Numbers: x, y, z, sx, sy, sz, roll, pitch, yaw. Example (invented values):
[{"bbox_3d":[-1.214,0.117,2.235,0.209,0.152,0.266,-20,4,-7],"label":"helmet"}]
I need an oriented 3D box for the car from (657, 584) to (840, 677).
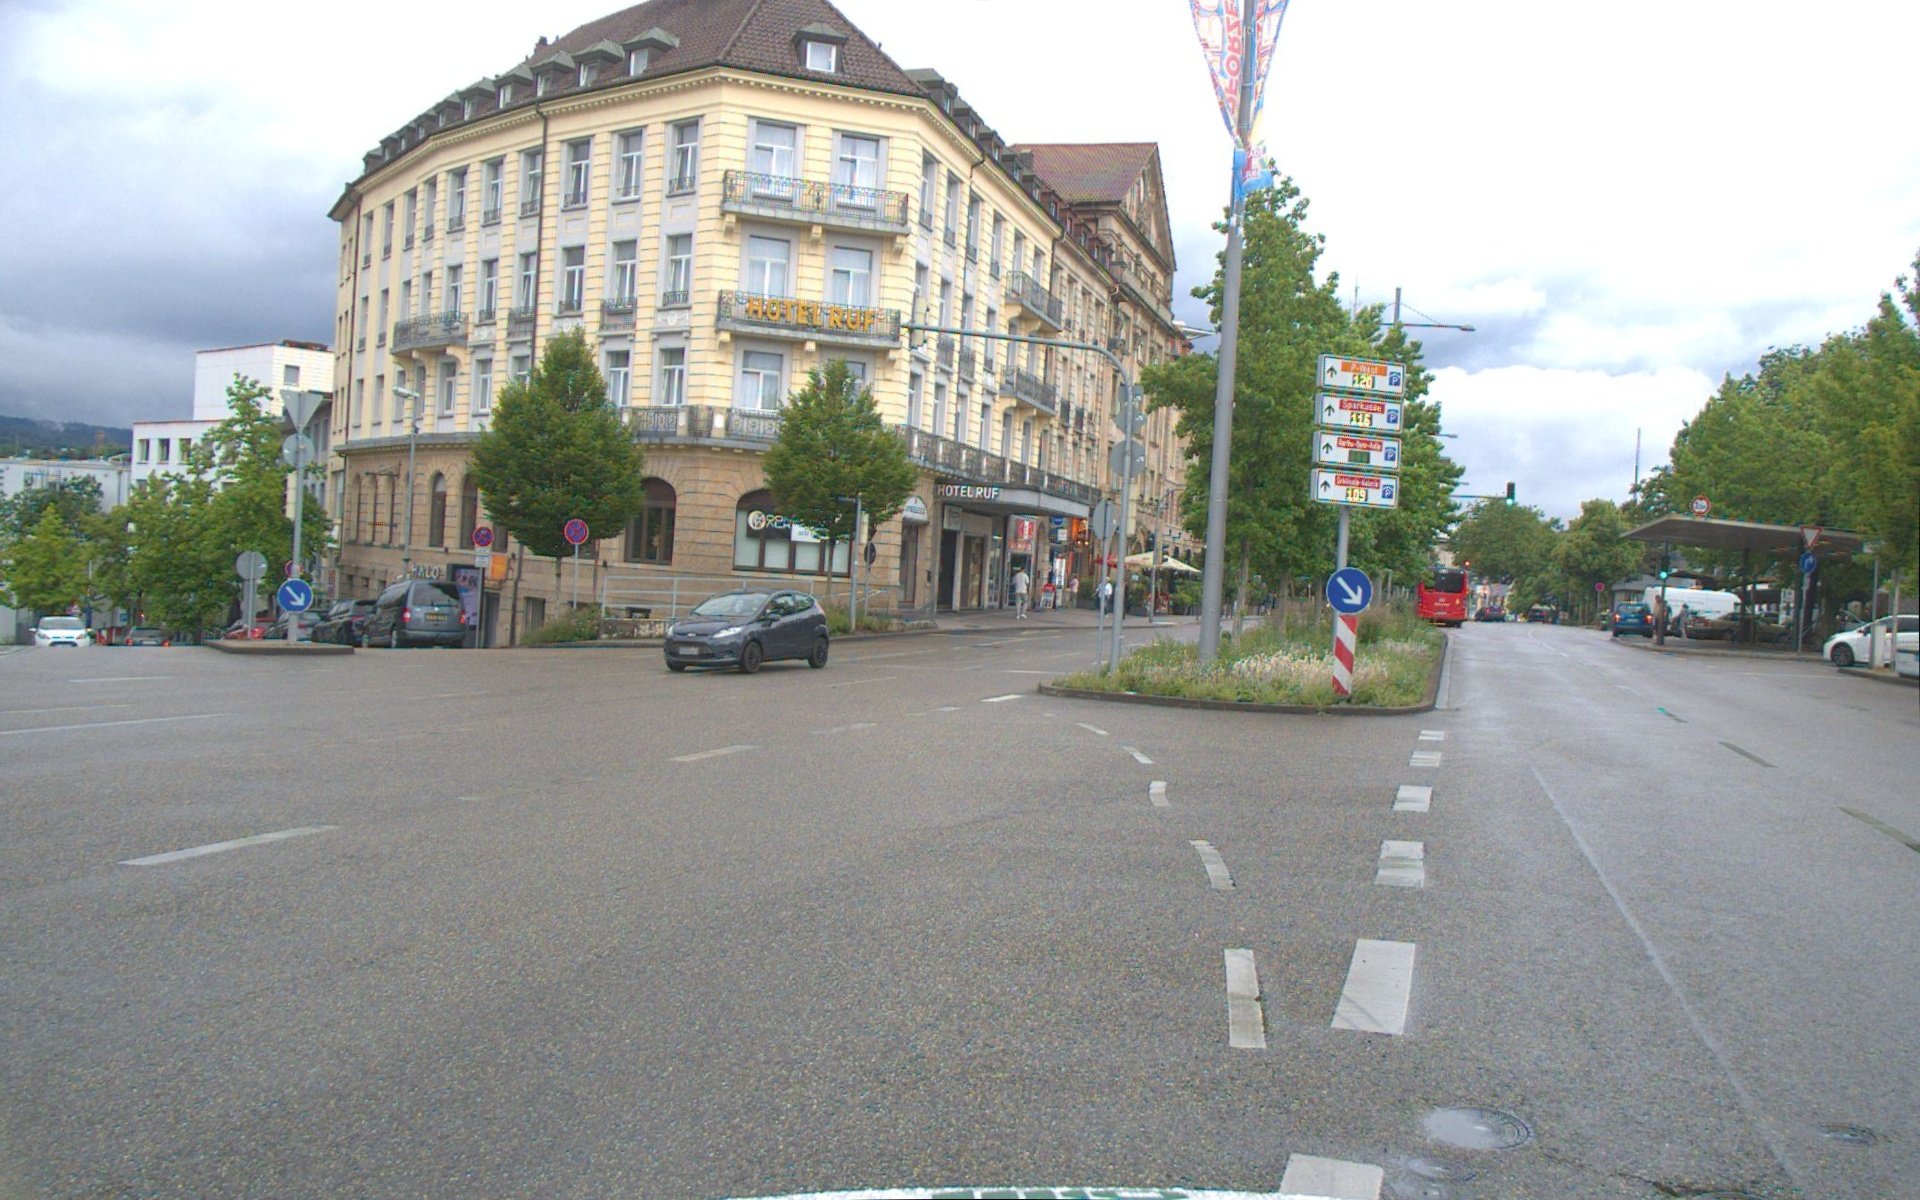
[{"bbox_3d":[-3.720,0.521,29.721,1.642,1.539,3.864,1,0,20],"label":"car"}]

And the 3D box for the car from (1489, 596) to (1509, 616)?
[{"bbox_3d":[57.565,0.680,176.751,1.952,2.049,4.002,1,0,17],"label":"car"}]

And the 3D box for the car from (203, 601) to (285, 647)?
[{"bbox_3d":[-25.090,0.826,57.896,1.751,1.504,3.958,1,0,-37],"label":"car"}]

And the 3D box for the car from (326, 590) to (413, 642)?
[{"bbox_3d":[-17.618,0.458,49.268,1.614,1.422,3.957,1,1,-32],"label":"car"}]

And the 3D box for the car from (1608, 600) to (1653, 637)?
[{"bbox_3d":[31.115,0.862,76.864,1.820,1.596,4.000,2,0,21],"label":"car"}]

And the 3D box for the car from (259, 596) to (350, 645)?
[{"bbox_3d":[-21.126,0.643,53.231,1.751,1.504,3.948,1,0,-37],"label":"car"}]

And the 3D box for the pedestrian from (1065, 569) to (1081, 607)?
[{"bbox_3d":[5.046,-0.533,73.880,0.652,1.693,0.537,1,0,9],"label":"pedestrian"}]

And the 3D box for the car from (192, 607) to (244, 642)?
[{"bbox_3d":[-34.151,1.114,76.055,1.746,1.504,3.958,1,0,-31],"label":"car"}]

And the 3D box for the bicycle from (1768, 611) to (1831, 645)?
[{"bbox_3d":[27.620,0.904,54.453,1.789,1.074,0.420,1,0,17],"label":"bicycle"}]

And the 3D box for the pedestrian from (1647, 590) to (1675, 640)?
[{"bbox_3d":[25.294,0.527,59.689,0.730,1.777,0.837,2,-1,9],"label":"pedestrian"}]

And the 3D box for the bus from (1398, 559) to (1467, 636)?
[{"bbox_3d":[26.533,-0.109,93.099,3.470,4.049,11.179,1,0,15],"label":"bus"}]

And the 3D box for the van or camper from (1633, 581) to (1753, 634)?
[{"bbox_3d":[40.747,0.410,92.007,5.837,2.811,2.194,1,0,-10],"label":"van or camper"}]

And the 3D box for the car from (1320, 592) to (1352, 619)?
[{"bbox_3d":[29.638,0.429,130.228,1.952,2.049,5.003,1,0,19],"label":"car"}]

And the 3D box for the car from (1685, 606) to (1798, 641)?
[{"bbox_3d":[34.266,1.017,72.578,4.101,1.348,1.839,2,0,-2],"label":"car"}]

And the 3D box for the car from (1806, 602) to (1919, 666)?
[{"bbox_3d":[24.663,0.892,43.057,1.733,1.572,4.746,2,0,-22],"label":"car"}]

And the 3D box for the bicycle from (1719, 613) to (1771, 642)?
[{"bbox_3d":[29.745,1.043,62.692,1.790,1.074,0.420,1,0,-1],"label":"bicycle"}]

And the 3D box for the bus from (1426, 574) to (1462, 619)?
[{"bbox_3d":[42.426,-0.253,145.238,2.746,3.812,10.452,0,-1,15],"label":"bus"}]

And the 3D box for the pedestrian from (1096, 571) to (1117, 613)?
[{"bbox_3d":[6.031,-0.334,68.063,0.667,1.693,0.807,1,0,20],"label":"pedestrian"}]

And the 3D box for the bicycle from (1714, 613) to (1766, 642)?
[{"bbox_3d":[29.772,1.042,63.154,1.790,1.074,0.420,1,0,-1],"label":"bicycle"}]

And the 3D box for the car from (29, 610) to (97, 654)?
[{"bbox_3d":[-31.195,1.080,57.479,1.616,1.422,3.950,1,0,-35],"label":"car"}]

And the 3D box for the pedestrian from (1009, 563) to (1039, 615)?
[{"bbox_3d":[2.260,-0.385,58.361,0.861,1.844,0.751,1,0,17],"label":"pedestrian"}]

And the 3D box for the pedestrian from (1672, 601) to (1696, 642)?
[{"bbox_3d":[33.211,0.979,75.901,0.838,1.867,1.190,2,-1,17],"label":"pedestrian"}]

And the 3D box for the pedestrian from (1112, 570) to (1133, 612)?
[{"bbox_3d":[6.665,-0.362,67.749,0.667,1.693,0.807,1,0,18],"label":"pedestrian"}]

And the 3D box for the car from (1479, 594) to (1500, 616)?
[{"bbox_3d":[52.009,0.510,162.486,1.952,2.049,4.002,1,0,17],"label":"car"}]

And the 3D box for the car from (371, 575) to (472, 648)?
[{"bbox_3d":[-14.294,0.269,43.801,1.614,1.790,3.957,1,1,-32],"label":"car"}]

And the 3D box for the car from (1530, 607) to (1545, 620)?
[{"bbox_3d":[68.916,1.616,197.337,1.561,1.588,3.652,1,0,17],"label":"car"}]
